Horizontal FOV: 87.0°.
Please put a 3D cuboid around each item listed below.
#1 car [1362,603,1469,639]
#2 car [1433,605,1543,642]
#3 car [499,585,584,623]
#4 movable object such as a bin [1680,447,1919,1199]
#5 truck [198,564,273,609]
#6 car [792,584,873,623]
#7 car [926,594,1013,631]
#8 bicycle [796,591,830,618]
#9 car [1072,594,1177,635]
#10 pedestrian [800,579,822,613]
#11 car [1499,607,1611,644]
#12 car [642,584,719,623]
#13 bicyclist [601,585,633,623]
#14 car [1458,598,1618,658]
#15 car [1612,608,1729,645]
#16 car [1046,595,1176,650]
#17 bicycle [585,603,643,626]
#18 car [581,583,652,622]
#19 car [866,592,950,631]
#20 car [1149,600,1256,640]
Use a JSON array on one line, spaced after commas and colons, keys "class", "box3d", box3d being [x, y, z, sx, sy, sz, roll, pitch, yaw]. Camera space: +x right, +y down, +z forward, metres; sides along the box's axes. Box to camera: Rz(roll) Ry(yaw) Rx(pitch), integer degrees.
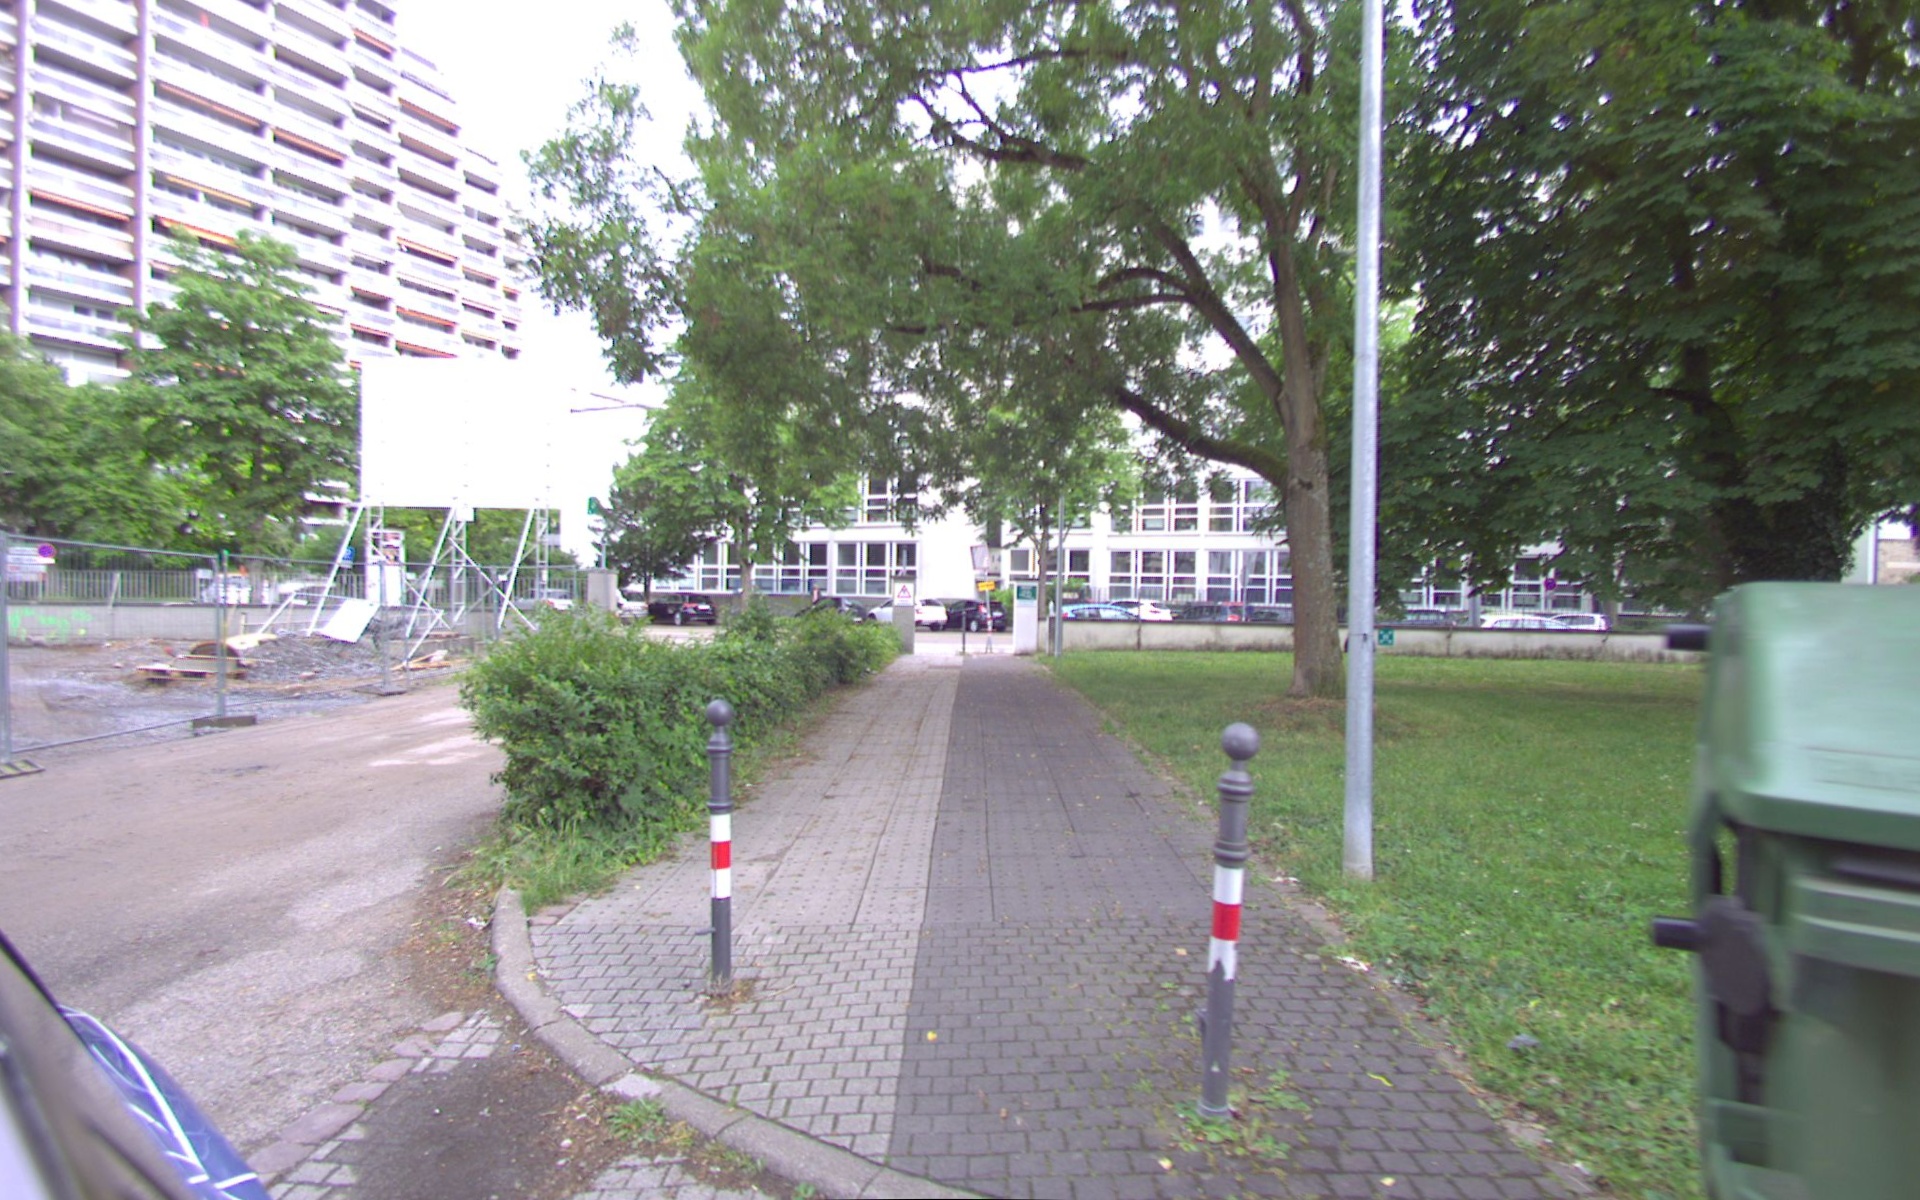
[{"class": "car", "box3d": [20.120, 0.901, 44.774, 1.675, 1.362, 3.971, 0, 2, -45]}, {"class": "car", "box3d": [23.304, 1.003, 44.733, 1.675, 1.362, 3.971, 0, 2, -45]}, {"class": "car", "box3d": [-18.499, 0.169, 44.652, 4.433, 1.475, 1.778, 3, 2, 43]}, {"class": "movable object such as a bin", "box3d": [1.474, 0.638, 0.863, 1.351, 1.461, 1.043, 3, 1, 35]}, {"class": "truck", "box3d": [-32.092, -0.636, 44.759, 1.970, 1.862, 5.068, 0, 2, -44]}, {"class": "car", "box3d": [-5.679, 0.127, 44.791, 1.674, 1.535, 3.709, 0, 2, -44]}, {"class": "car", "box3d": [0.375, 0.531, 44.889, 1.672, 1.416, 4.038, 0, 2, -38]}, {"class": "bicycle", "box3d": [-7.153, 0.219, 49.362, 1.578, 1.278, 0.405, 1, 0, 10]}, {"class": "car", "box3d": [7.224, 0.589, 44.723, 4.345, 1.567, 1.676, 3, 2, 41]}, {"class": "pedestrian", "box3d": [-7.292, -0.198, 49.645, 0.750, 1.623, 0.729, 3, 2, 21]}, {"class": "car", "box3d": [26.194, 1.097, 44.631, 1.675, 1.362, 3.971, 0, 2, -45]}, {"class": "car", "box3d": [-12.238, 0.124, 44.210, 1.674, 1.535, 3.709, 0, 2, -44]}, {"class": "bicyclist", "box3d": [-13.694, 0.162, 40.414, 1.011, 1.511, 0.847, 1, 0, -5]}, {"class": "car", "box3d": [15.932, 0.754, 27.988, 3.515, 1.492, 1.480, 1, 2, 0]}, {"class": "car", "box3d": [31.074, 1.141, 44.331, 1.675, 1.362, 3.971, 0, 2, -45]}, {"class": "car", "box3d": [4.240, 0.635, 28.769, 3.384, 1.472, 1.679, 1, -1, 0]}, {"class": "bicycle", "box3d": [-13.797, 0.585, 40.386, 2.105, 0.875, 0.471, 1, 0, -6]}, {"class": "car", "box3d": [-15.025, 0.097, 44.194, 1.549, 1.535, 3.655, 0, 2, -44]}, {"class": "car", "box3d": [-2.321, 0.471, 44.583, 1.672, 1.495, 4.038, 0, 2, -38]}, {"class": "car", "box3d": [10.577, 0.838, 44.345, 1.675, 1.464, 4.349, 0, 2, -45]}]
